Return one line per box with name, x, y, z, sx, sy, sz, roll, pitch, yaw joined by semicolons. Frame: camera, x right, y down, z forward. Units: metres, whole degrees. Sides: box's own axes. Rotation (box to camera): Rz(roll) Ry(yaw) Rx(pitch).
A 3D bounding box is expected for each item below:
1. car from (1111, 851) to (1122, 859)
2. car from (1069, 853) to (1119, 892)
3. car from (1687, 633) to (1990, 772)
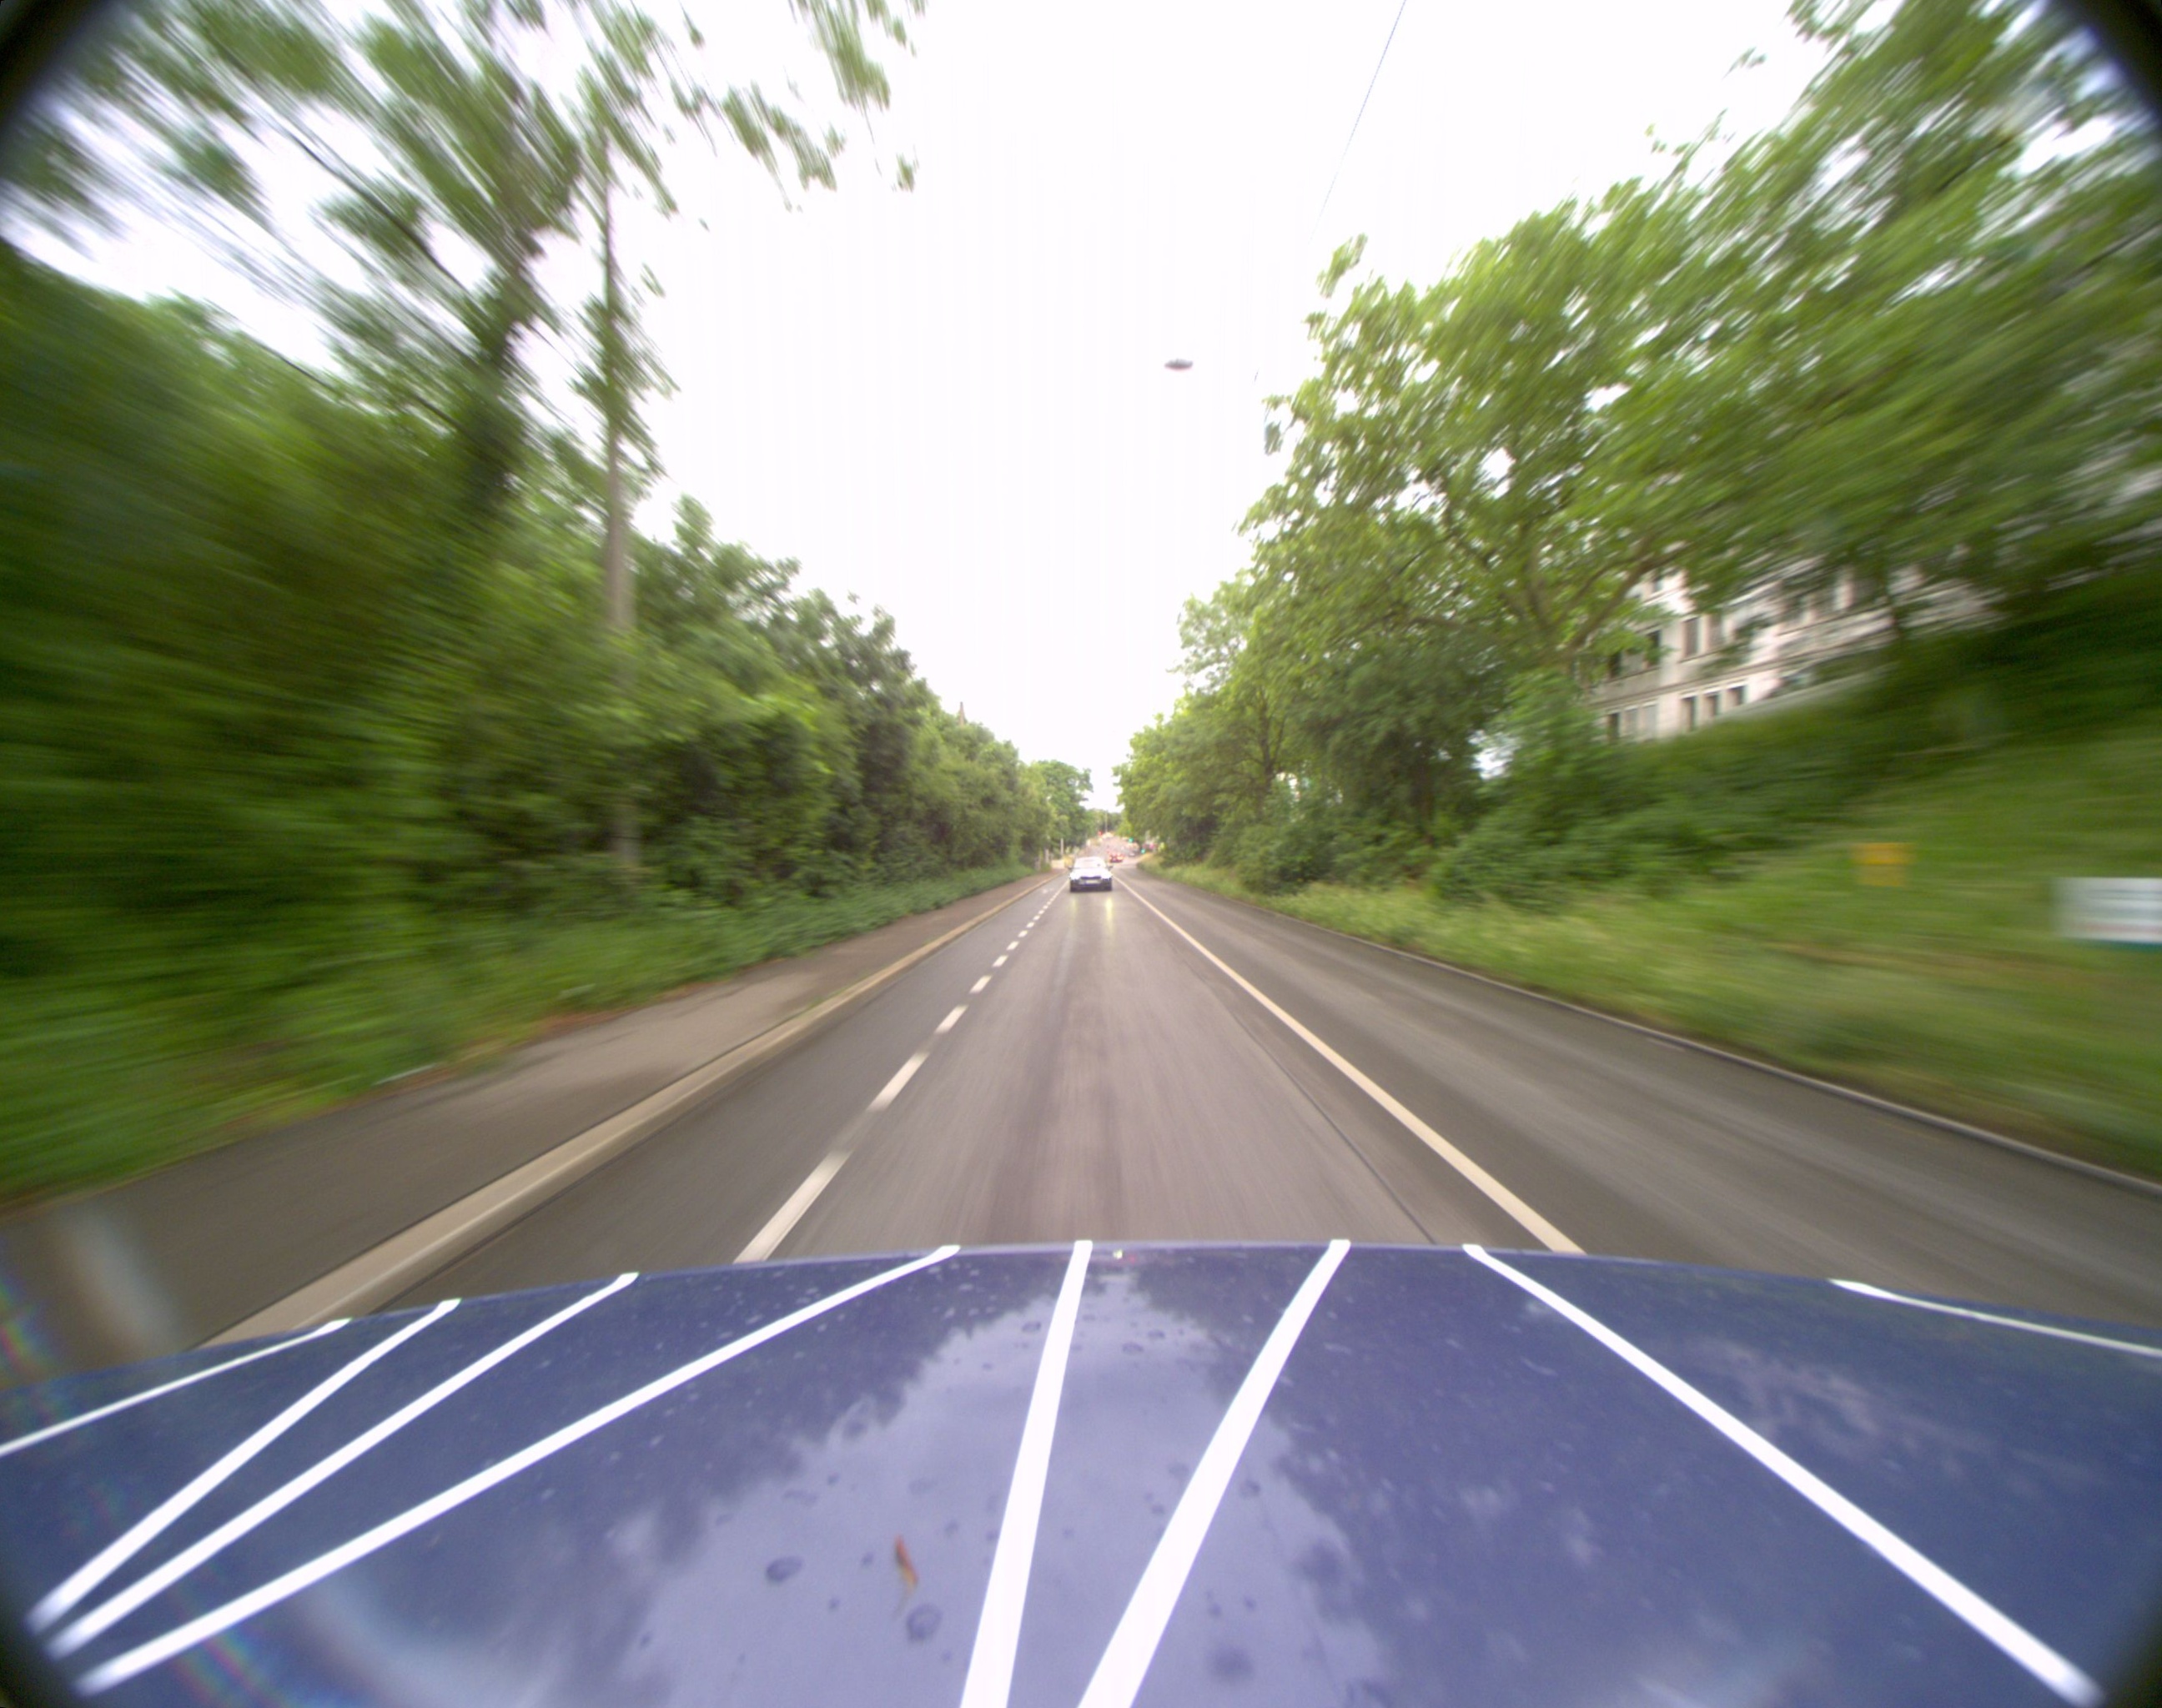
car;7.704;0.240;165.017;1.981;1.497;4.000;-2;1;0
car;0.547;0.744;33.132;1.981;1.497;4.000;-2;1;0
car;14.988;-2.893;15.410;1.999;2.002;3.998;-2;1;-4
